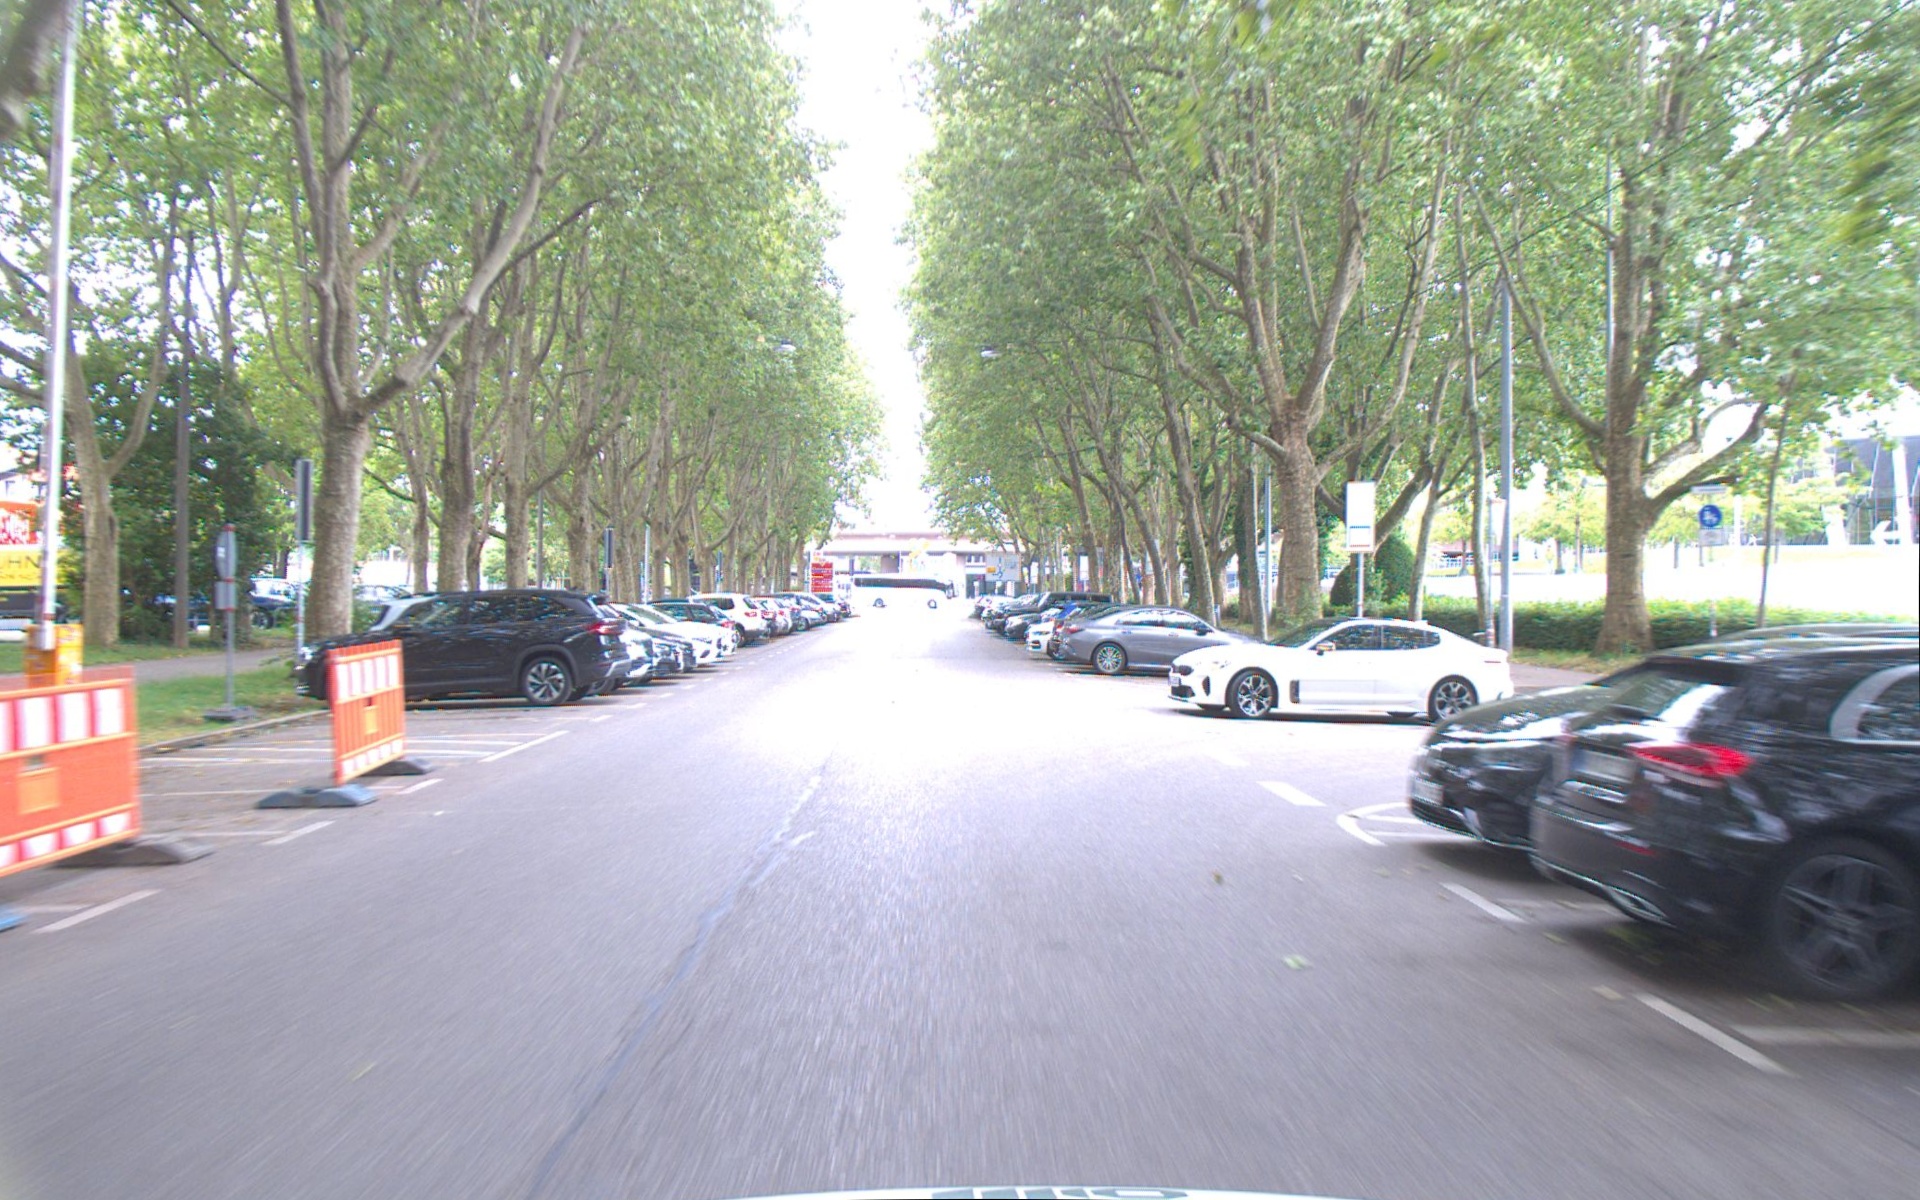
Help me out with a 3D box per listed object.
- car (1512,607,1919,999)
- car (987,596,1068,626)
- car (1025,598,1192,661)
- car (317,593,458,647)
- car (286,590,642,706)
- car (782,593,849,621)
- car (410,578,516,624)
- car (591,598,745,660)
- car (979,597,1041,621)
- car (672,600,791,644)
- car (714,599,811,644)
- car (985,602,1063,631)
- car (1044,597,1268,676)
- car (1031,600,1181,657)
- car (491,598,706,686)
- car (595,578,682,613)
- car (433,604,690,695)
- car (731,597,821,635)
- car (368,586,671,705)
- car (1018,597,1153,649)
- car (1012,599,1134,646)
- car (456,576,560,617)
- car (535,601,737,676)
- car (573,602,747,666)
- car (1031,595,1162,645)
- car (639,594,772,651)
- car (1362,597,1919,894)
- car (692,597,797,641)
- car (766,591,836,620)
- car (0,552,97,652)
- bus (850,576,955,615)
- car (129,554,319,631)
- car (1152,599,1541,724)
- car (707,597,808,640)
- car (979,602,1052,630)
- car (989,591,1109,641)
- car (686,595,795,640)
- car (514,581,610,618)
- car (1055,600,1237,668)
[{"bbox_3d":[4.599,0.822,7.223,3.840,1.477,1.555,1,0,-3],"label":"car"},{"bbox_3d":[3.718,0.602,90.972,4.290,1.549,1.730,1,0,-4],"label":"car"},{"bbox_3d":[3.695,0.727,41.474,4.088,1.467,1.732,1,0,3],"label":"car"},{"bbox_3d":[-23.414,0.790,67.765,4.972,2.050,2.176,1,0,2],"label":"car"},{"bbox_3d":[-7.111,0.668,24.131,4.571,1.452,1.999,-2,0,-3],"label":"car"},{"bbox_3d":[-8.398,0.389,96.303,3.735,1.542,1.686,1,0,2],"label":"car"},{"bbox_3d":[-23.399,0.026,77.953,4.261,2.050,2.176,1,0,2],"label":"car"},{"bbox_3d":[-7.814,0.769,44.451,3.734,1.510,1.663,-2,0,4],"label":"car"},{"bbox_3d":[3.468,0.622,115.897,4.287,1.549,1.731,1,0,-1],"label":"car"},{"bbox_3d":[-7.813,0.743,56.795,3.734,1.319,1.787,-2,0,4],"label":"car"},{"bbox_3d":[-8.268,0.878,69.443,3.734,1.719,1.687,-2,0,4],"label":"car"},{"bbox_3d":[3.645,0.943,94.473,4.290,1.549,1.730,1,0,-4],"label":"car"},{"bbox_3d":[4.002,0.728,34.358,4.478,1.512,2.001,1,0,3],"label":"car"},{"bbox_3d":[4.065,0.785,46.426,4.088,1.467,1.732,1,0,3],"label":"car"},{"bbox_3d":[-6.852,0.783,31.656,3.738,1.510,1.661,-2,0,-3],"label":"car"},{"bbox_3d":[-20.125,-0.256,103.622,4.972,2.050,2.176,1,0,2],"label":"car"},{"bbox_3d":[-6.979,0.853,29.307,4.084,1.405,1.870,-2,0,-3],"label":"car"},{"bbox_3d":[-8.264,0.721,74.484,3.734,1.542,1.687,-2,0,4],"label":"car"},{"bbox_3d":[-7.007,0.702,26.651,4.383,1.706,1.761,-2,0,-3],"label":"car"},{"bbox_3d":[3.855,0.702,51.225,3.968,1.494,1.730,1,0,-4],"label":"car"},{"bbox_3d":[3.844,0.756,56.736,3.968,1.494,1.730,1,0,-4],"label":"car"},{"bbox_3d":[-24.600,-0.197,90.115,4.972,2.050,2.176,1,0,2],"label":"car"},{"bbox_3d":[-6.652,0.788,34.189,3.734,1.377,1.663,-2,0,4],"label":"car"},{"bbox_3d":[-7.121,0.794,39.472,3.734,1.354,1.663,-2,0,4],"label":"car"},{"bbox_3d":[4.354,0.637,53.207,3.968,1.494,1.730,1,0,-4],"label":"car"},{"bbox_3d":[-7.915,0.698,51.651,3.734,1.630,1.787,-2,0,4],"label":"car"},{"bbox_3d":[4.928,0.817,9.793,4.566,1.477,1.925,2,0,-3],"label":"car"},{"bbox_3d":[-8.377,0.734,64.357,3.734,1.542,1.687,-2,0,4],"label":"car"},{"bbox_3d":[-9.032,0.307,94.041,3.735,1.542,1.686,1,0,2],"label":"car"},{"bbox_3d":[-23.310,0.003,39.025,4.976,2.271,1.535,1,0,-3],"label":"car"},{"bbox_3d":[-6.406,-0.482,184.020,11.326,4.040,2.456,-1,-1,10],"label":"bus"},{"bbox_3d":[-23.244,-0.240,52.356,4.972,2.271,2.176,1,0,2],"label":"car"},{"bbox_3d":[5.322,0.842,23.001,4.845,1.427,1.994,3,0,-12],"label":"car"},{"bbox_3d":[-8.143,0.738,66.575,3.734,1.542,1.687,-2,0,4],"label":"car"},{"bbox_3d":[3.299,0.943,98.447,4.287,1.549,1.731,1,0,-1],"label":"car"},{"bbox_3d":[3.309,0.580,61.760,4.290,1.782,1.730,1,0,-4],"label":"car"},{"bbox_3d":[-8.239,0.639,62.286,3.734,1.542,1.687,-2,0,4],"label":"car"},{"bbox_3d":[-23.269,-0.041,96.844,4.972,2.050,2.176,1,0,2],"label":"car"},{"bbox_3d":[4.284,0.767,38.519,4.088,1.467,1.732,1,0,3],"label":"car"}]
